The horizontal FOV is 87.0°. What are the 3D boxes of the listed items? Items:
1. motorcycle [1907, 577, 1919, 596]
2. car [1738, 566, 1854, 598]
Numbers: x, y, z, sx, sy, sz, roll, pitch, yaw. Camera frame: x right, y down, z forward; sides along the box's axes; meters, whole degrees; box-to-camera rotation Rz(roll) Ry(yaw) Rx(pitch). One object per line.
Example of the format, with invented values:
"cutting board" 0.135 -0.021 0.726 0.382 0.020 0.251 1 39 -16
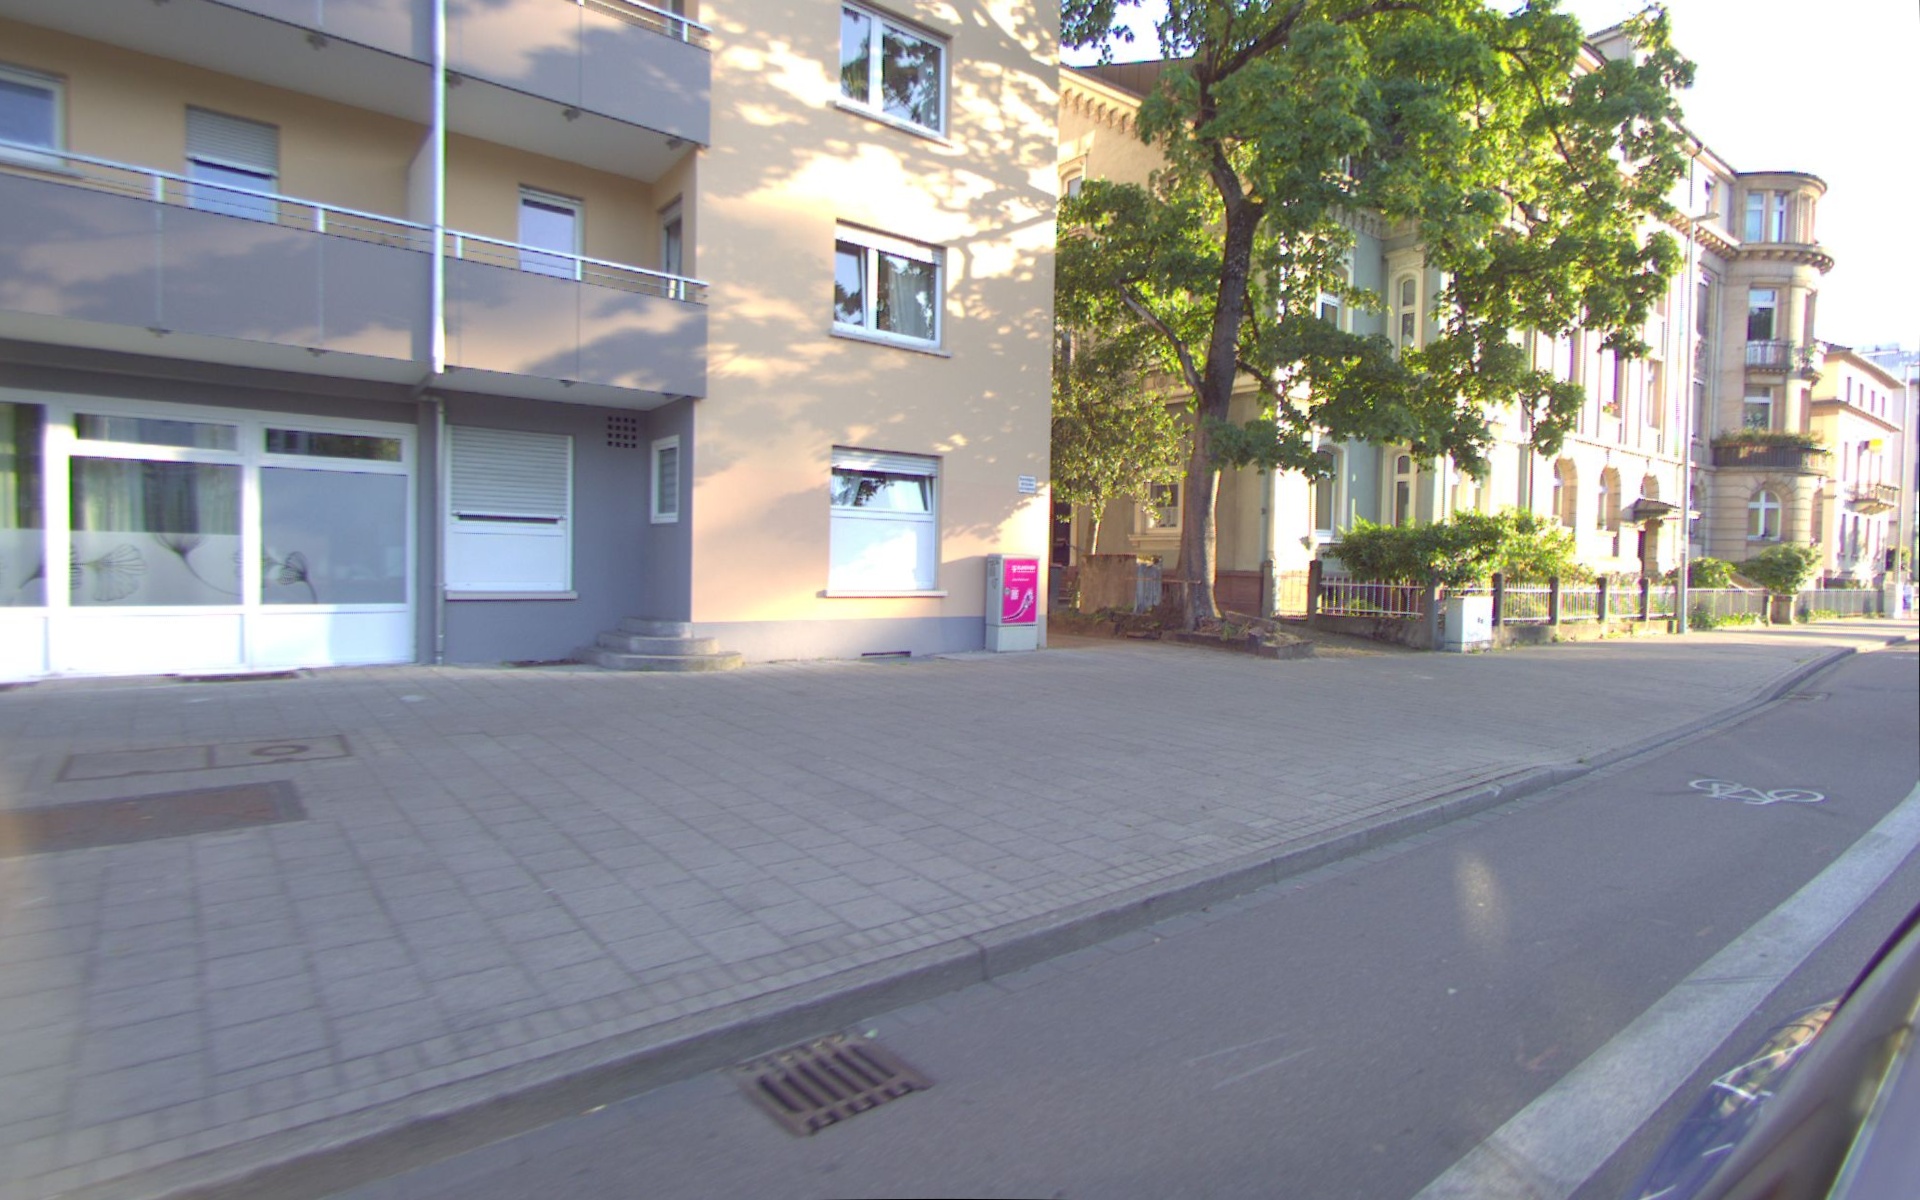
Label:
"motorcycle" 55.765 -0.750 58.188 0.564 1.110 1.852 0 2 -33
"car" 41.463 -0.916 50.258 1.903 1.499 4.098 -1 2 -38
